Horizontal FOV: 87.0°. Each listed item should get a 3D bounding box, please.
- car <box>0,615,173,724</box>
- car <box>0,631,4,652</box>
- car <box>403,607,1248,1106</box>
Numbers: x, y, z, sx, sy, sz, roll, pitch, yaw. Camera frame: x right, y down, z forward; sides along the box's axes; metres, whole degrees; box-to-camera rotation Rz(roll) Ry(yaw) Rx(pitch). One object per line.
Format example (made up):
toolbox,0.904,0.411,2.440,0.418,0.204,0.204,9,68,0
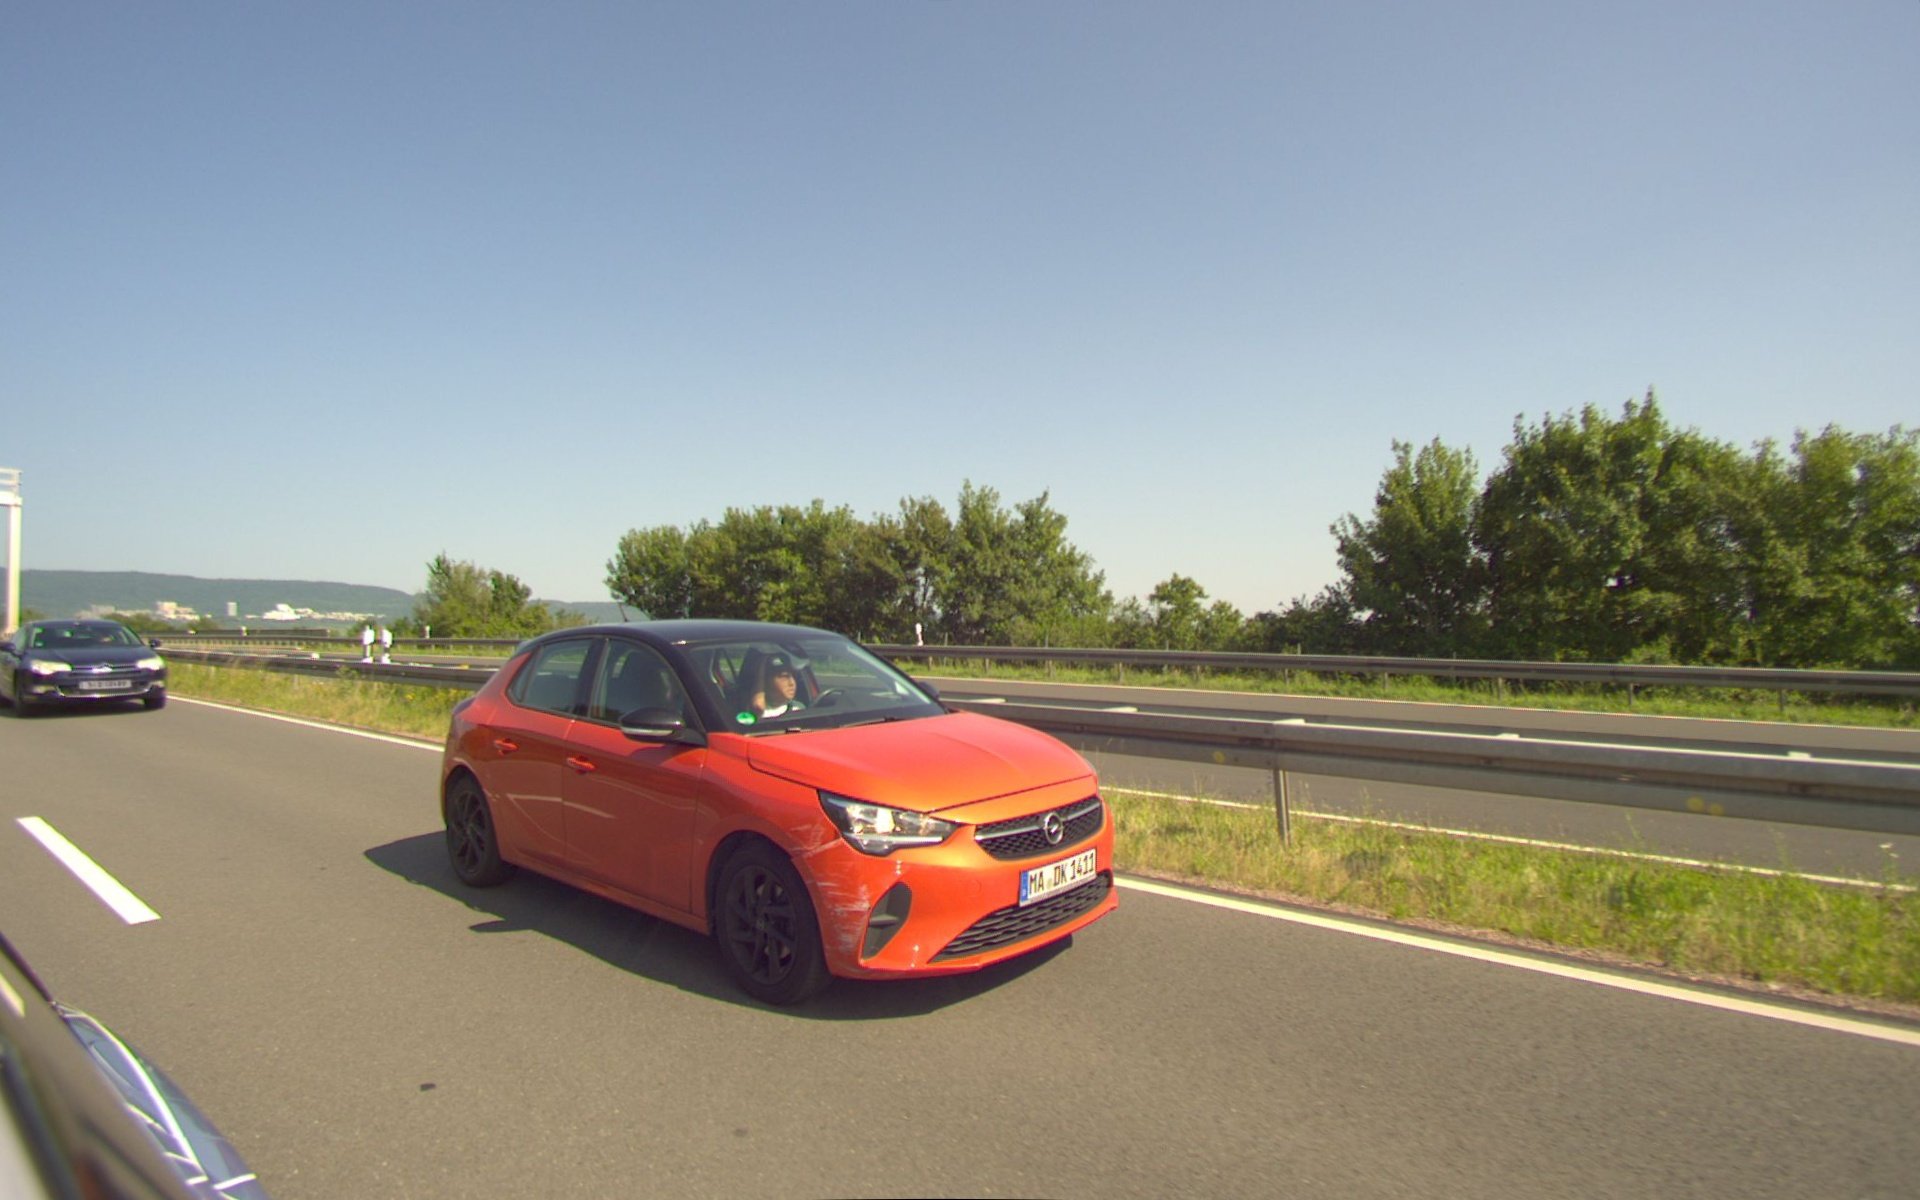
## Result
car,-14.558,1.071,16.580,4.371,1.545,1.765,-2,-2,40
car,-76.304,3.244,79.169,3.997,1.629,1.716,-2,-2,39
car,-1.007,0.777,5.044,4.409,1.448,1.691,-1,-1,41
